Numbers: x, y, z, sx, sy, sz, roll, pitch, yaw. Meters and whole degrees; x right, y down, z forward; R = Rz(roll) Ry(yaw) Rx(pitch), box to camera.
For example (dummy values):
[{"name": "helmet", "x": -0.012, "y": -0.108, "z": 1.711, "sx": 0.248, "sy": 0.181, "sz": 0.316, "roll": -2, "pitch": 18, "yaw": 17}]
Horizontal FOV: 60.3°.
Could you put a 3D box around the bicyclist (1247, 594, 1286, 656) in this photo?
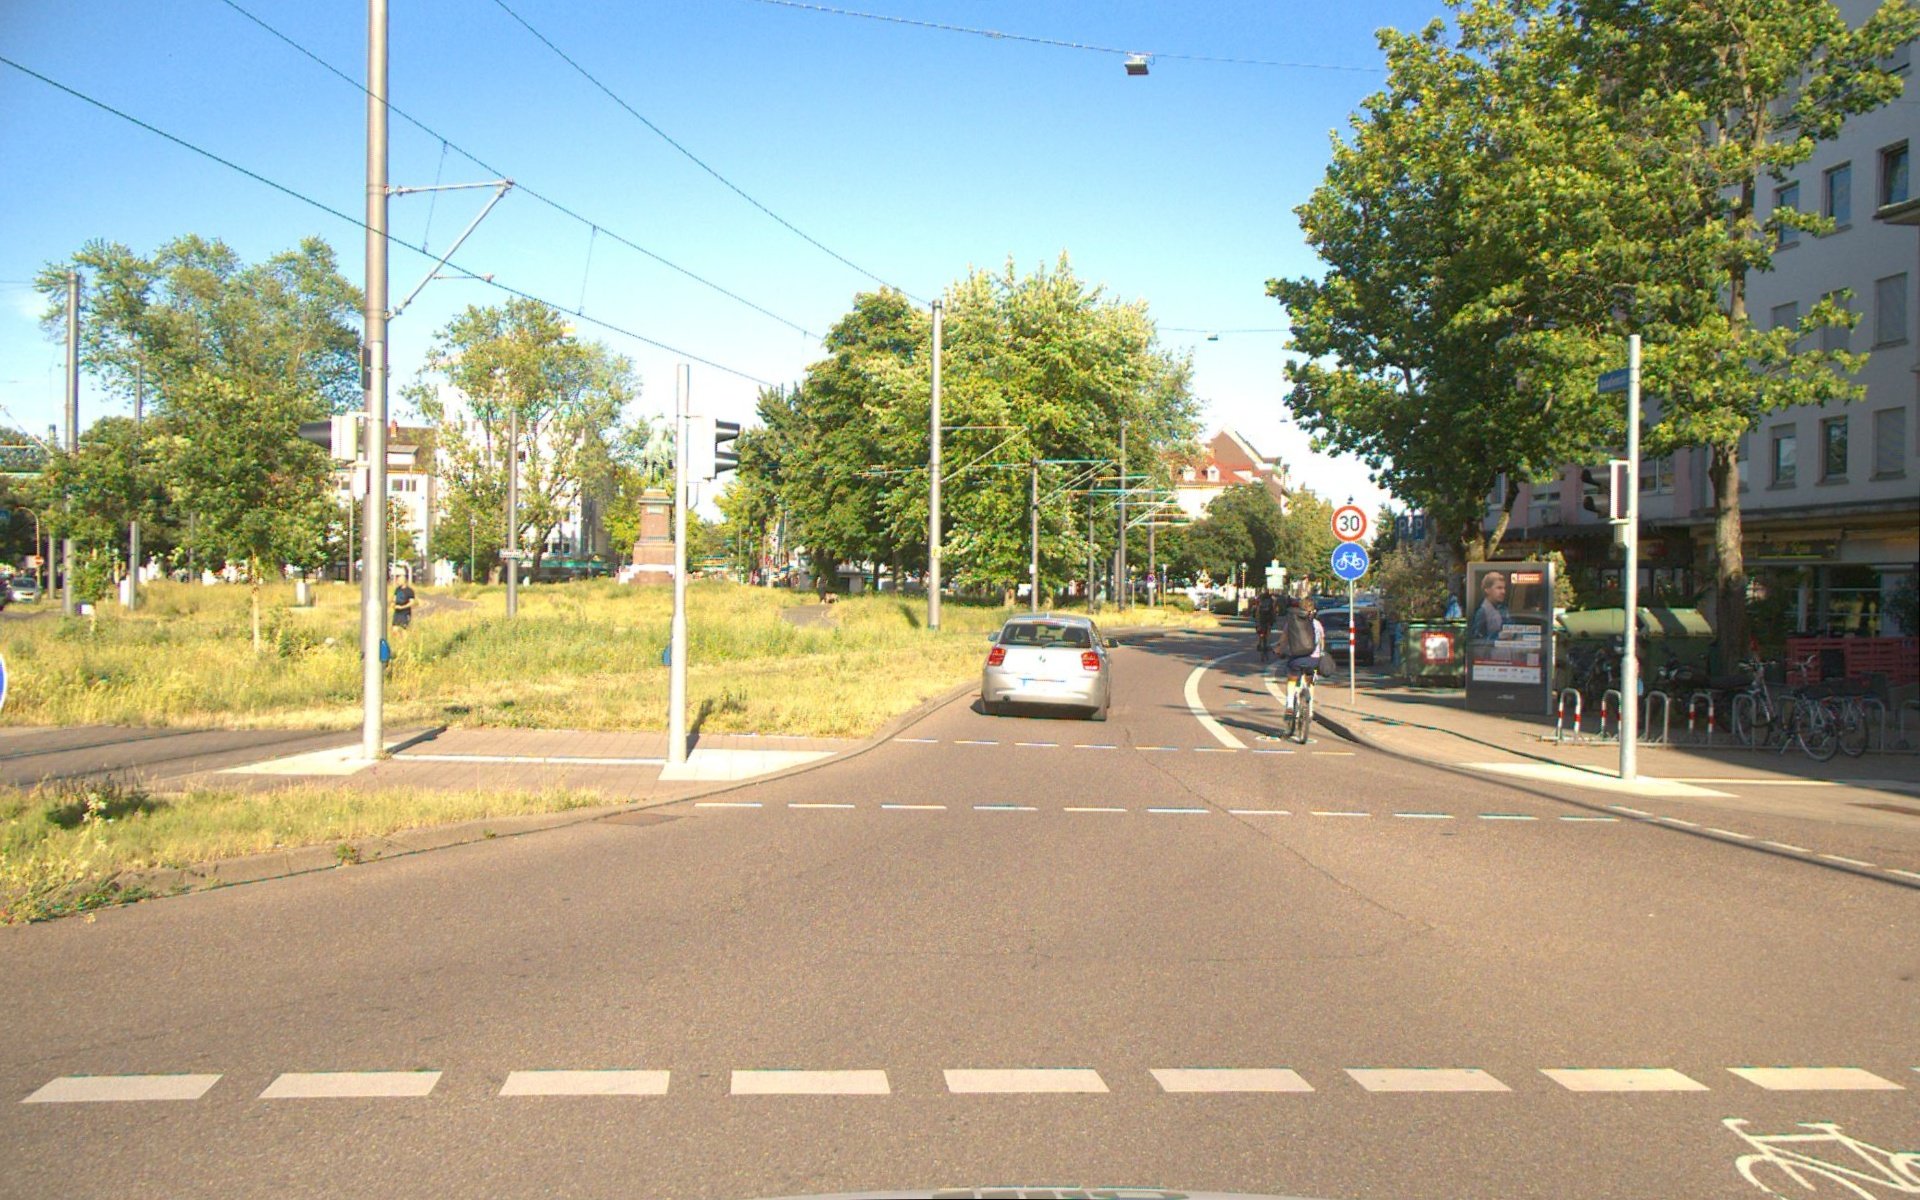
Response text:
[{"name": "bicyclist", "x": 8.586, "y": 0.702, "z": 46.314, "sx": 0.919, "sy": 1.662, "sz": 0.936, "roll": 2, "pitch": -1, "yaw": 16}]

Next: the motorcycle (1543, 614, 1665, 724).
[{"name": "motorcycle", "x": 9.895, "y": 1.020, "z": 25.528, "sx": 0.786, "sy": 1.566, "sz": 2.544, "roll": 2, "pitch": 0, "yaw": -2}]

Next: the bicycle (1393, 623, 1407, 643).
[{"name": "bicycle", "x": 20.118, "y": 1.514, "z": 75.582, "sx": 0.523, "sy": 0.907, "sz": 2.071, "roll": 2, "pitch": -1, "yaw": 17}]

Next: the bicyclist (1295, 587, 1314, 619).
[{"name": "bicyclist", "x": 16.380, "y": 0.137, "z": 78.606, "sx": 0.769, "sy": 1.478, "sz": 1.096, "roll": 2, "pitch": -1, "yaw": 14}]

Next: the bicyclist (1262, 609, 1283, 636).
[{"name": "bicyclist", "x": 18.464, "y": 1.342, "z": 97.826, "sx": 0.912, "sy": 1.534, "sz": 0.823, "roll": 3, "pitch": -1, "yaw": -11}]

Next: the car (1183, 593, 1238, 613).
[{"name": "car", "x": 25.825, "y": 0.342, "z": 170.871, "sx": 5.169, "sy": 1.831, "sz": 2.158, "roll": 3, "pitch": -1, "yaw": -11}]

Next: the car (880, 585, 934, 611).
[{"name": "car", "x": -5.332, "y": -0.226, "z": 165.784, "sx": 5.235, "sy": 2.354, "sz": 1.997, "roll": 3, "pitch": -1, "yaw": -8}]

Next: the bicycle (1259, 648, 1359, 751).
[{"name": "bicycle", "x": 4.342, "y": 1.206, "z": 20.731, "sx": 0.867, "sy": 1.155, "sz": 2.230, "roll": 2, "pitch": -1, "yaw": 4}]

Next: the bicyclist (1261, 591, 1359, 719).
[{"name": "bicyclist", "x": 4.346, "y": 0.672, "z": 20.600, "sx": 1.016, "sy": 1.510, "sz": 0.989, "roll": 2, "pitch": -1, "yaw": 4}]

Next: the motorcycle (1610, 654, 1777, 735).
[{"name": "motorcycle", "x": 10.439, "y": 1.338, "z": 23.567, "sx": 2.056, "sy": 1.039, "sz": 0.761, "roll": 2, "pitch": 0, "yaw": -8}]

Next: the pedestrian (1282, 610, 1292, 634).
[{"name": "pedestrian", "x": 23.187, "y": 1.573, "z": 117.314, "sx": 0.622, "sy": 1.701, "sz": 0.693, "roll": 2, "pitch": -1, "yaw": 16}]

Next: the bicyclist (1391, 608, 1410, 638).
[{"name": "bicyclist", "x": 20.142, "y": 1.045, "z": 75.610, "sx": 0.742, "sy": 1.349, "sz": 0.994, "roll": 2, "pitch": -1, "yaw": 17}]

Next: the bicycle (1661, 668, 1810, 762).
[{"name": "bicycle", "x": 9.463, "y": 1.378, "z": 20.281, "sx": 0.467, "sy": 1.002, "sz": 2.114, "roll": 3, "pitch": -1, "yaw": -11}]

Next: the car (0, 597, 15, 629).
[{"name": "car", "x": -49.552, "y": 0.584, "z": 83.522, "sx": 1.959, "sy": 1.540, "sz": 4.267, "roll": 2, "pitch": -4, "yaw": -13}]

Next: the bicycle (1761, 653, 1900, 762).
[{"name": "bicycle", "x": 11.027, "y": 1.337, "z": 21.016, "sx": 0.522, "sy": 1.266, "sz": 1.843, "roll": 3, "pitch": -1, "yaw": -10}]

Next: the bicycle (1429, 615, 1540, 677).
[{"name": "bicycle", "x": 11.346, "y": 0.973, "z": 35.812, "sx": 2.127, "sy": 1.272, "sz": 0.895, "roll": 1, "pitch": 0, "yaw": 38}]

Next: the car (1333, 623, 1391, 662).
[{"name": "car", "x": 15.757, "y": 1.679, "z": 64.670, "sx": 1.812, "sy": 1.367, "sz": 4.601, "roll": 2, "pitch": -1, "yaw": 18}]

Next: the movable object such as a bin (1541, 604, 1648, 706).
[{"name": "movable object such as a bin", "x": 10.742, "y": 0.923, "z": 28.038, "sx": 1.355, "sy": 1.668, "sz": 1.006, "roll": 2, "pitch": -1, "yaw": -9}]

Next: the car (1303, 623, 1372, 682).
[{"name": "car", "x": 10.196, "y": 1.370, "z": 44.625, "sx": 1.728, "sy": 1.463, "sz": 4.587, "roll": 0, "pitch": 0, "yaw": 13}]

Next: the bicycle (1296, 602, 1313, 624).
[{"name": "bicycle", "x": 16.380, "y": 0.630, "z": 78.644, "sx": 0.638, "sy": 0.975, "sz": 2.700, "roll": 2, "pitch": -1, "yaw": 14}]

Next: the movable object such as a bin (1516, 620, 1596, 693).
[{"name": "movable object such as a bin", "x": 12.194, "y": 1.151, "z": 33.864, "sx": 1.190, "sy": 1.415, "sz": 0.958, "roll": 3, "pitch": -1, "yaw": -7}]

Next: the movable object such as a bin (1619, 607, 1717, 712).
[{"name": "movable object such as a bin", "x": 12.040, "y": 1.012, "z": 28.154, "sx": 1.232, "sy": 1.739, "sz": 0.943, "roll": 1, "pitch": -1, "yaw": -9}]

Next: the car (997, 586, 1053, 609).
[{"name": "car", "x": 6.766, "y": -0.234, "z": 172.625, "sx": 5.475, "sy": 2.049, "sz": 1.813, "roll": 3, "pitch": -1, "yaw": -11}]

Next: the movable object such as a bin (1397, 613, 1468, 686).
[{"name": "movable object such as a bin", "x": 9.620, "y": 1.004, "z": 33.710, "sx": 1.253, "sy": 1.416, "sz": 0.922, "roll": 2, "pitch": -1, "yaw": 10}]

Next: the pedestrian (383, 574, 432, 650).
[{"name": "pedestrian", "x": -12.679, "y": 0.274, "z": 37.969, "sx": 0.718, "sy": 1.700, "sz": 0.745, "roll": 1, "pitch": 0, "yaw": 17}]

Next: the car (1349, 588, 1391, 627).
[{"name": "car", "x": 21.323, "y": 0.390, "z": 85.872, "sx": 1.951, "sy": 1.844, "sz": 4.312, "roll": 2, "pitch": -1, "yaw": 15}]

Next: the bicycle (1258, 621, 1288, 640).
[{"name": "bicycle", "x": 18.476, "y": 1.788, "z": 97.718, "sx": 0.795, "sy": 1.087, "sz": 2.576, "roll": 3, "pitch": -1, "yaw": -11}]

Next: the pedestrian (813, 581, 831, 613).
[{"name": "pedestrian", "x": -7.359, "y": -0.159, "z": 88.251, "sx": 0.667, "sy": 1.644, "sz": 0.548, "roll": 3, "pitch": -2, "yaw": -36}]

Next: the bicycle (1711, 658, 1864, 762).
[{"name": "bicycle", "x": 10.154, "y": 1.325, "z": 20.387, "sx": 0.467, "sy": 1.136, "sz": 2.114, "roll": 3, "pitch": -1, "yaw": -11}]

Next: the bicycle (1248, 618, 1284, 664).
[{"name": "bicycle", "x": 8.574, "y": 1.148, "z": 46.326, "sx": 0.802, "sy": 1.206, "sz": 1.965, "roll": 2, "pitch": -1, "yaw": 15}]

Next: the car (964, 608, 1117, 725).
[{"name": "car", "x": 1.258, "y": 0.913, "z": 23.891, "sx": 1.951, "sy": 1.448, "sz": 4.199, "roll": 3, "pitch": -1, "yaw": 6}]

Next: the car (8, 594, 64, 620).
[{"name": "car", "x": -55.597, "y": 0.389, "z": 99.576, "sx": 1.962, "sy": 1.377, "sz": 4.744, "roll": 2, "pitch": 0, "yaw": -18}]
